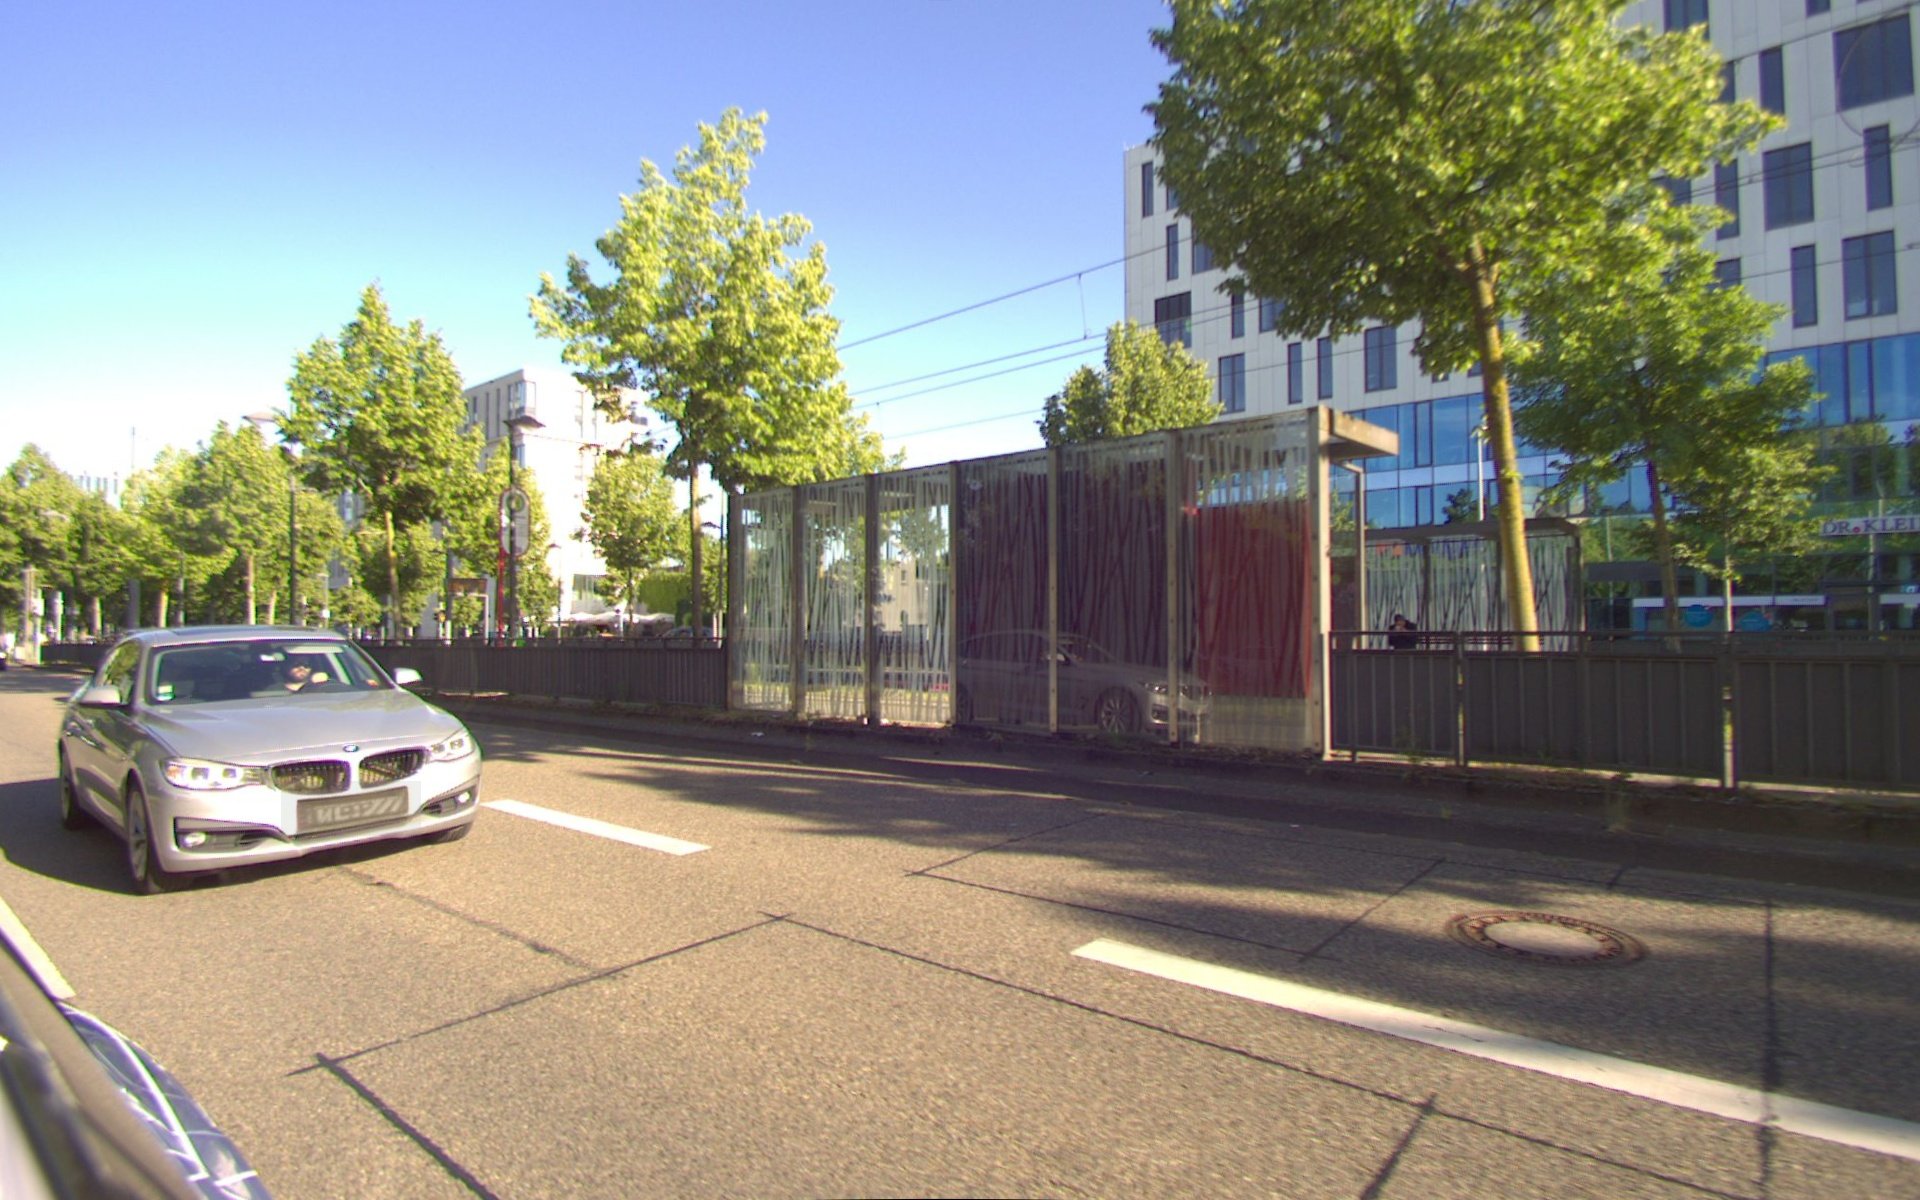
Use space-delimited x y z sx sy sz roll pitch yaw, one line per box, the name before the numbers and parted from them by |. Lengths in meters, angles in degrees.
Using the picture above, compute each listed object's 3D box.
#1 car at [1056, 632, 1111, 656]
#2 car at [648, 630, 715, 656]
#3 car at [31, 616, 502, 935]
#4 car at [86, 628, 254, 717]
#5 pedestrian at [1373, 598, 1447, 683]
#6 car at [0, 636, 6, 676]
car | 8.059 2.855 65.879 1.873 1.365 3.951 -2 -1 36
car | -15.924 2.461 57.807 3.999 1.365 1.850 -2 -1 42
car | -5.271 0.947 7.344 4.910 1.538 1.779 -2 -1 43
car | -15.913 1.387 20.305 4.339 1.538 1.780 -2 -1 40
pedestrian | 8.060 0.714 18.126 1.054 1.477 0.844 0 -2 -45
car | -39.918 2.276 40.671 4.339 1.538 1.780 -2 -1 40
